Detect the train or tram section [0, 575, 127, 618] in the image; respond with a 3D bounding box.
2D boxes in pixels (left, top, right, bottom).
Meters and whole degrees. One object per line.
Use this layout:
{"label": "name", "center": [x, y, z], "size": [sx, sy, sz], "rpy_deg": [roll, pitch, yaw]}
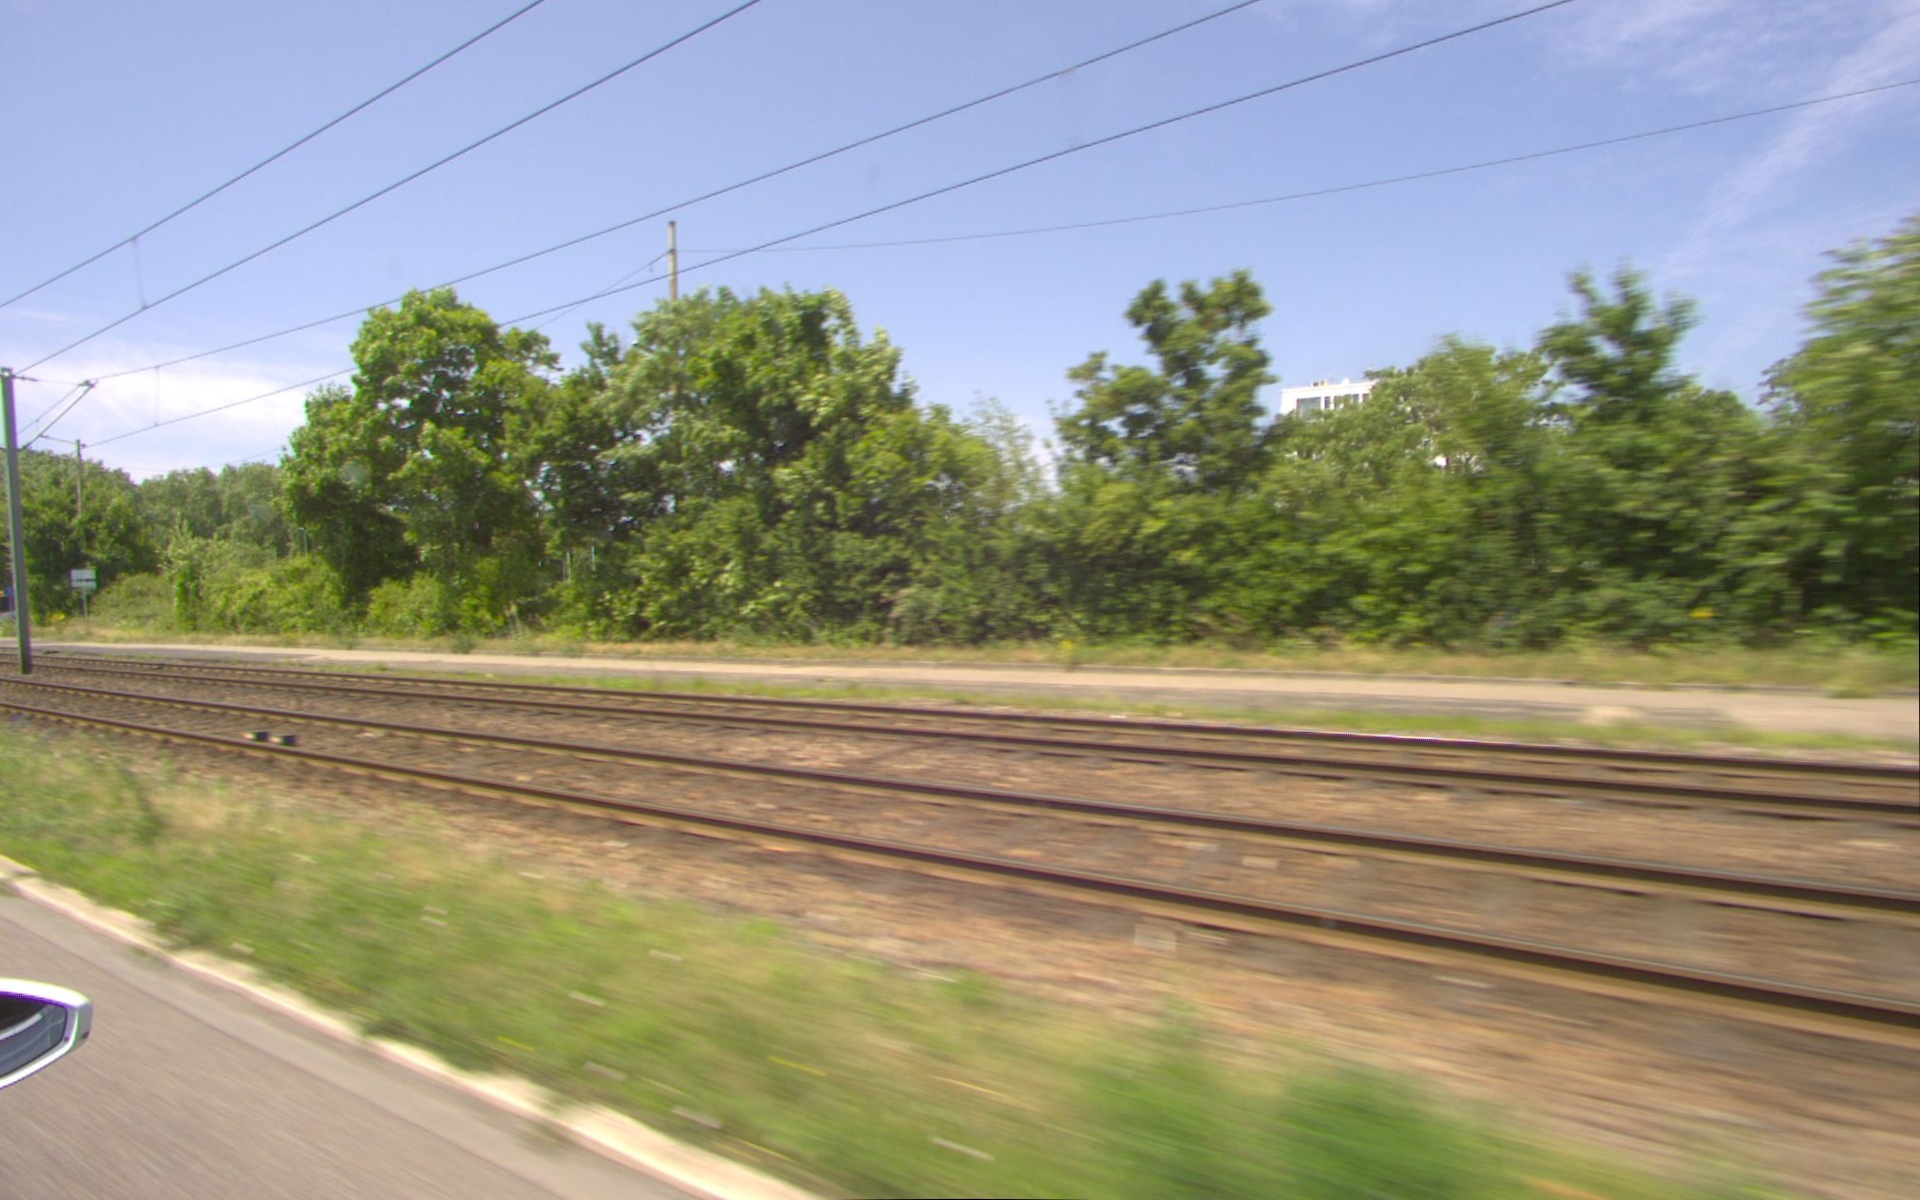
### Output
{"label": "train or tram section", "center": [-96.388, -0.339, 104.736], "size": [13.846, 3.969, 2.908], "rpy_deg": [-3, -1, -32]}
